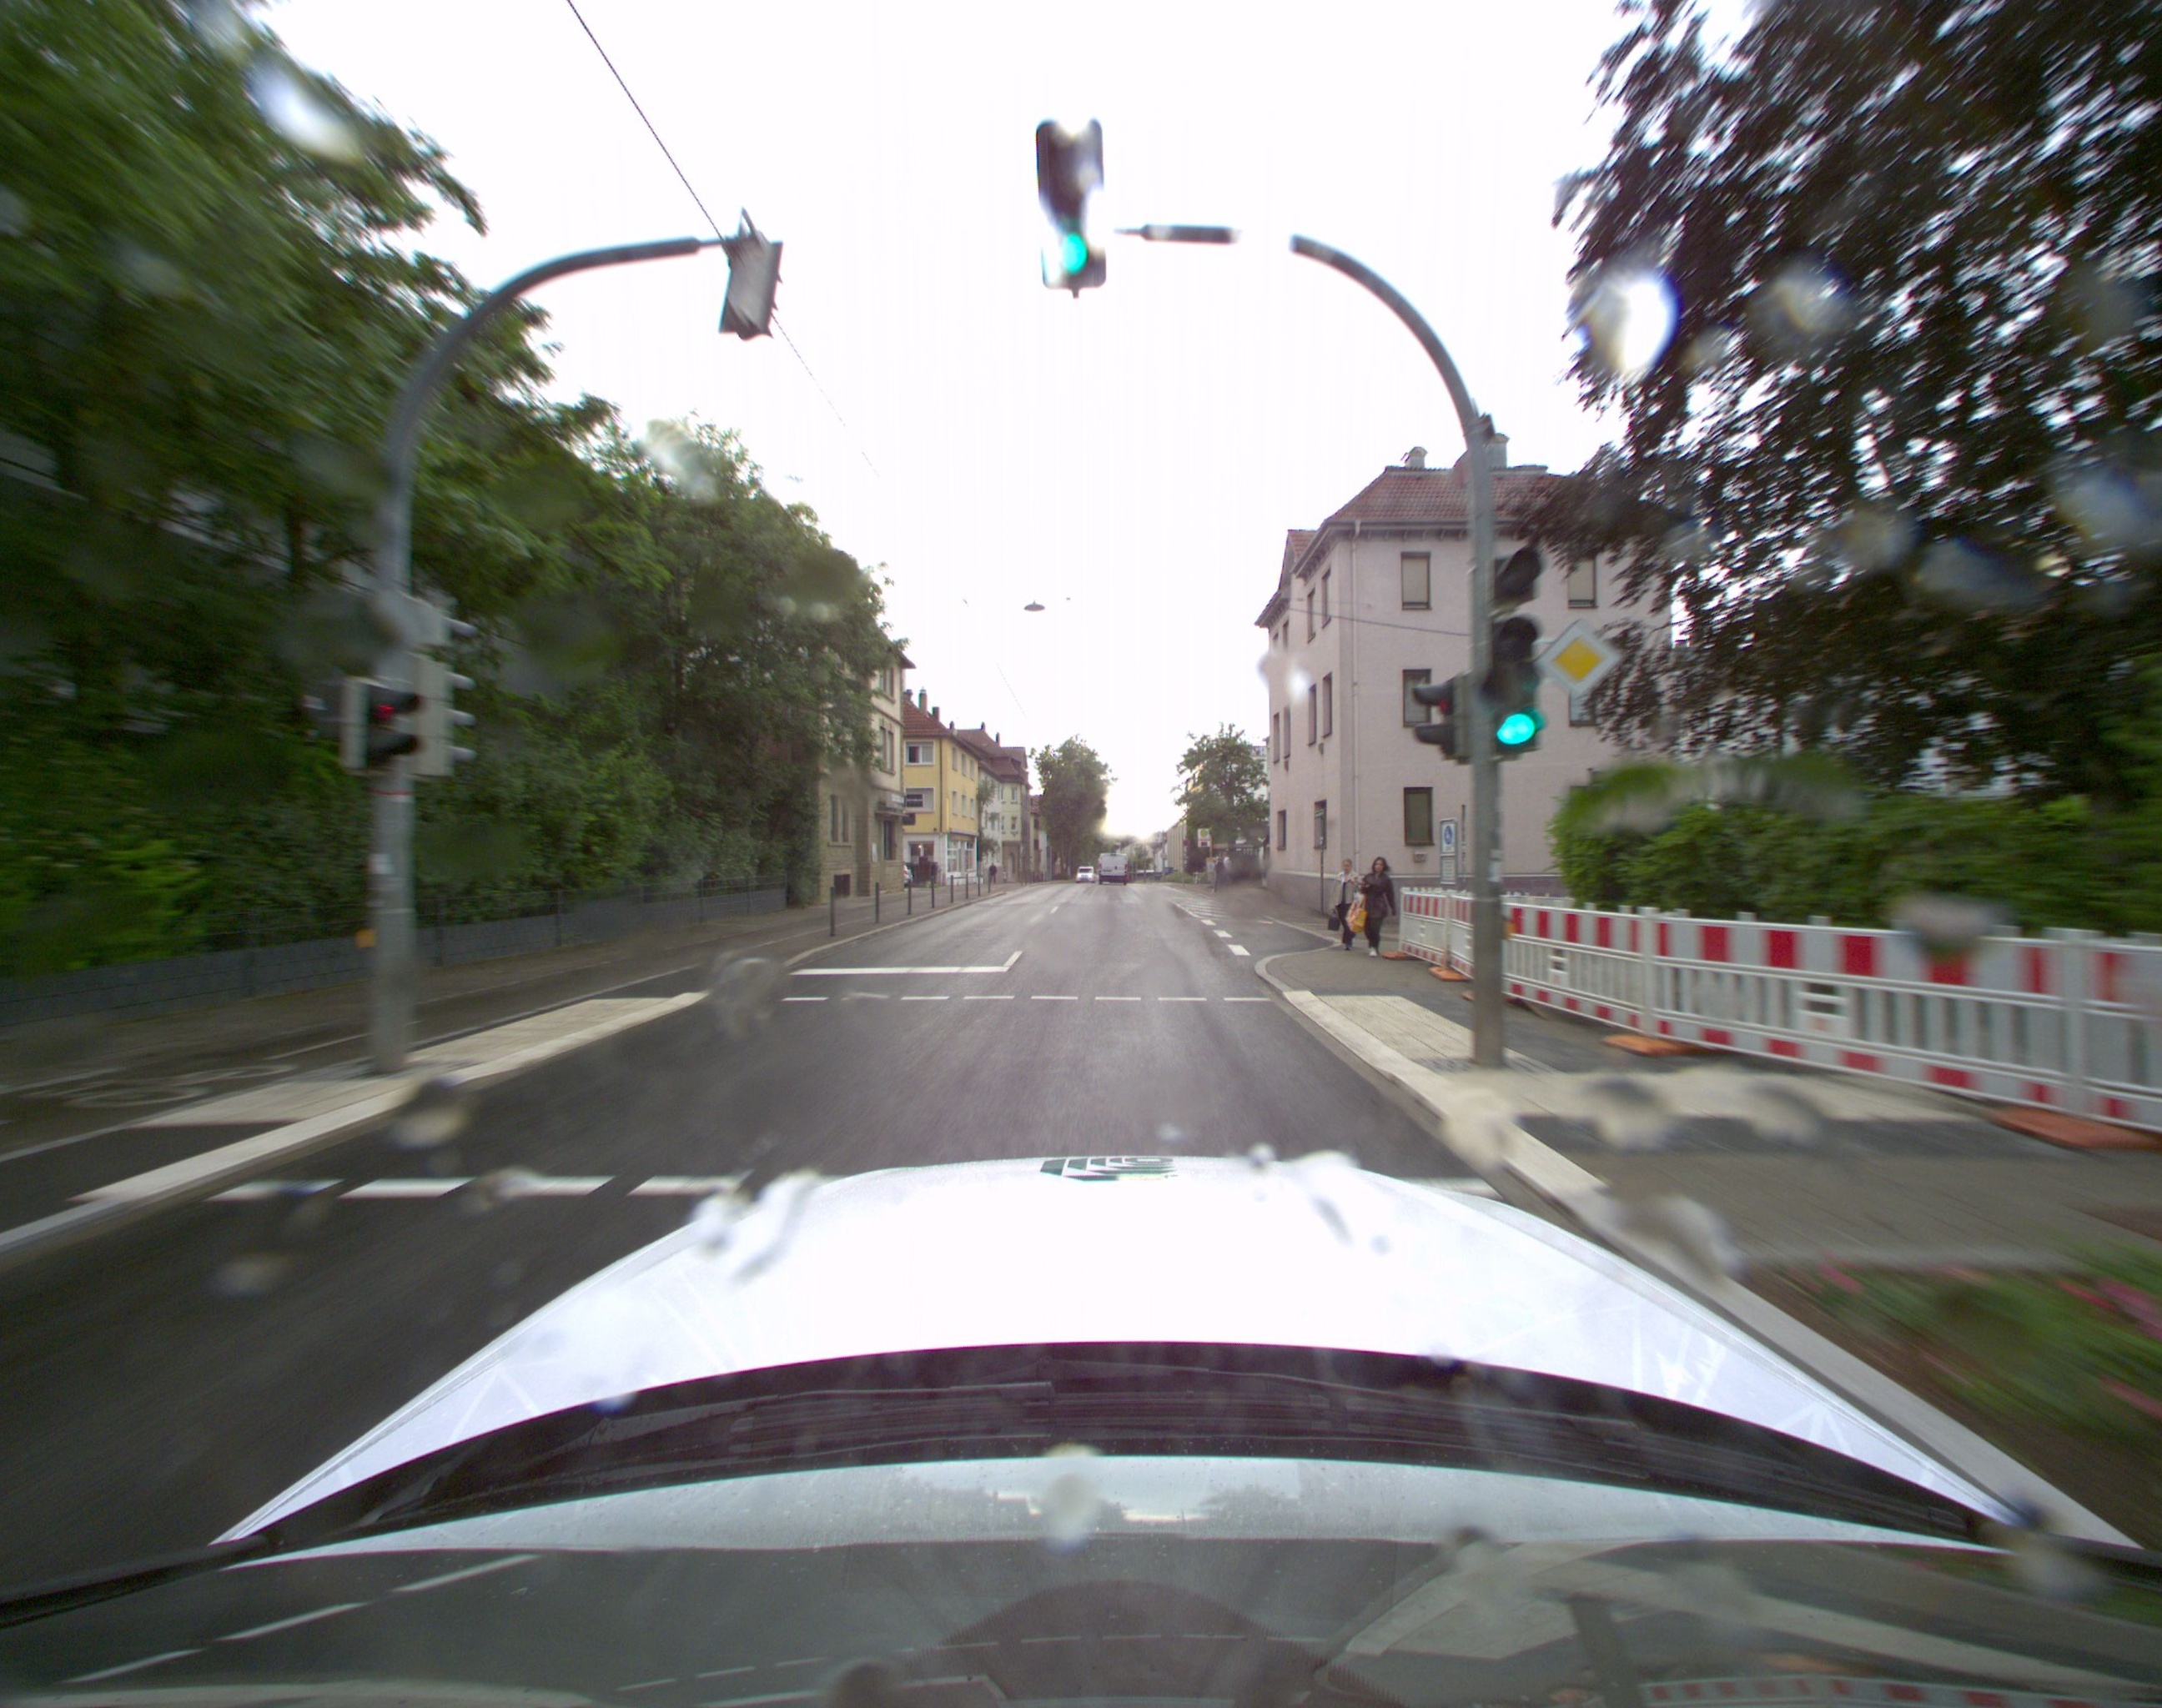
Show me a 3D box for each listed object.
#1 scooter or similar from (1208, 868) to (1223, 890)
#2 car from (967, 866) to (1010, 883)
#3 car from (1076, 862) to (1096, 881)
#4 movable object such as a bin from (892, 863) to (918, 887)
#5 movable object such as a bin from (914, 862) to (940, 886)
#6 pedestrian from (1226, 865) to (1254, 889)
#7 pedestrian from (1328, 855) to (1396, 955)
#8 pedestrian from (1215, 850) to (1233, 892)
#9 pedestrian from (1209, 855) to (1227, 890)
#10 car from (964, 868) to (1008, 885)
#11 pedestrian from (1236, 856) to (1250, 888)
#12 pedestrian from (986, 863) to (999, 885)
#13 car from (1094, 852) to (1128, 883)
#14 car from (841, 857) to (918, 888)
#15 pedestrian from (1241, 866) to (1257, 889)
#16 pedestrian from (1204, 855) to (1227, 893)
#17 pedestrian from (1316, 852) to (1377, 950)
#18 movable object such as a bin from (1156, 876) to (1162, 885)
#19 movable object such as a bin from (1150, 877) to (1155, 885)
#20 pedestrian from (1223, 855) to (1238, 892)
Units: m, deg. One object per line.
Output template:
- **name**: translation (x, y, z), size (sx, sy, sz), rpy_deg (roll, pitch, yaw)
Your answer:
- **scooter or similar**: translation (6.963, 1.300, 42.077), size (0.616, 1.140, 0.567), rpy_deg (-1, -1, -4)
- **car**: translation (-9.678, 2.166, 85.413), size (4.167, 1.588, 2.001), rpy_deg (3, -2, 2)
- **car**: translation (0.529, 1.855, 85.580), size (1.874, 1.870, 4.455), rpy_deg (-1, -2, 2)
- **movable object such as a bin**: translation (-10.453, 1.241, 48.383), size (1.241, 1.440, 0.983), rpy_deg (0, -1, 1)
- **movable object such as a bin**: translation (-9.136, 1.168, 48.382), size (1.296, 1.402, 0.983), rpy_deg (0, -1, 1)
- **pedestrian**: translation (8.915, 1.275, 45.618), size (1.352, 1.273, 0.740), rpy_deg (-1, -1, -4)
- **pedestrian**: translation (4.581, 0.811, 13.347), size (0.870, 1.561, 1.051), rpy_deg (1, -1, 9)
- **pedestrian**: translation (6.644, 0.788, 37.777), size (0.481, 1.875, 0.637), rpy_deg (-3, -1, 36)
- **pedestrian**: translation (6.959, 0.946, 41.368), size (0.659, 1.741, 0.828), rpy_deg (-1, -1, -4)
- **car**: translation (-9.280, 2.177, 79.898), size (3.973, 1.453, 2.000), rpy_deg (3, -2, 1)
- **pedestrian**: translation (9.353, 1.024, 46.970), size (0.641, 1.831, 0.745), rpy_deg (-2, -1, 16)
- **pedestrian**: translation (-6.929, 1.566, 63.736), size (0.813, 1.679, 0.992), rpy_deg (1, -2, -1)
- **car**: translation (2.187, 0.965, 60.209), size (2.339, 2.160, 4.776), rpy_deg (0, 0, 0)
- **car**: translation (-10.701, 0.958, 43.488), size (3.553, 1.486, 1.947), rpy_deg (2, -1, 0)
- **pedestrian**: translation (9.097, 1.283, 44.023), size (0.659, 1.199, 0.740), rpy_deg (-1, -1, -4)
- **pedestrian**: translation (6.169, 0.924, 37.293), size (0.639, 1.710, 0.742), rpy_deg (-2, -1, -32)
- **pedestrian**: translation (4.708, 0.808, 14.495), size (0.780, 1.642, 1.224), rpy_deg (1, -1, 6)
- **movable object such as a bin**: translation (9.763, 3.275, 102.265), size (0.692, 1.082, 0.779), rpy_deg (-3, -2, 2)
- **movable object such as a bin**: translation (8.978, 3.416, 102.120), size (0.617, 0.936, 0.686), rpy_deg (-3, -2, 2)
- **pedestrian**: translation (7.022, 0.927, 38.301), size (0.442, 1.708, 0.561), rpy_deg (-3, -1, 29)
